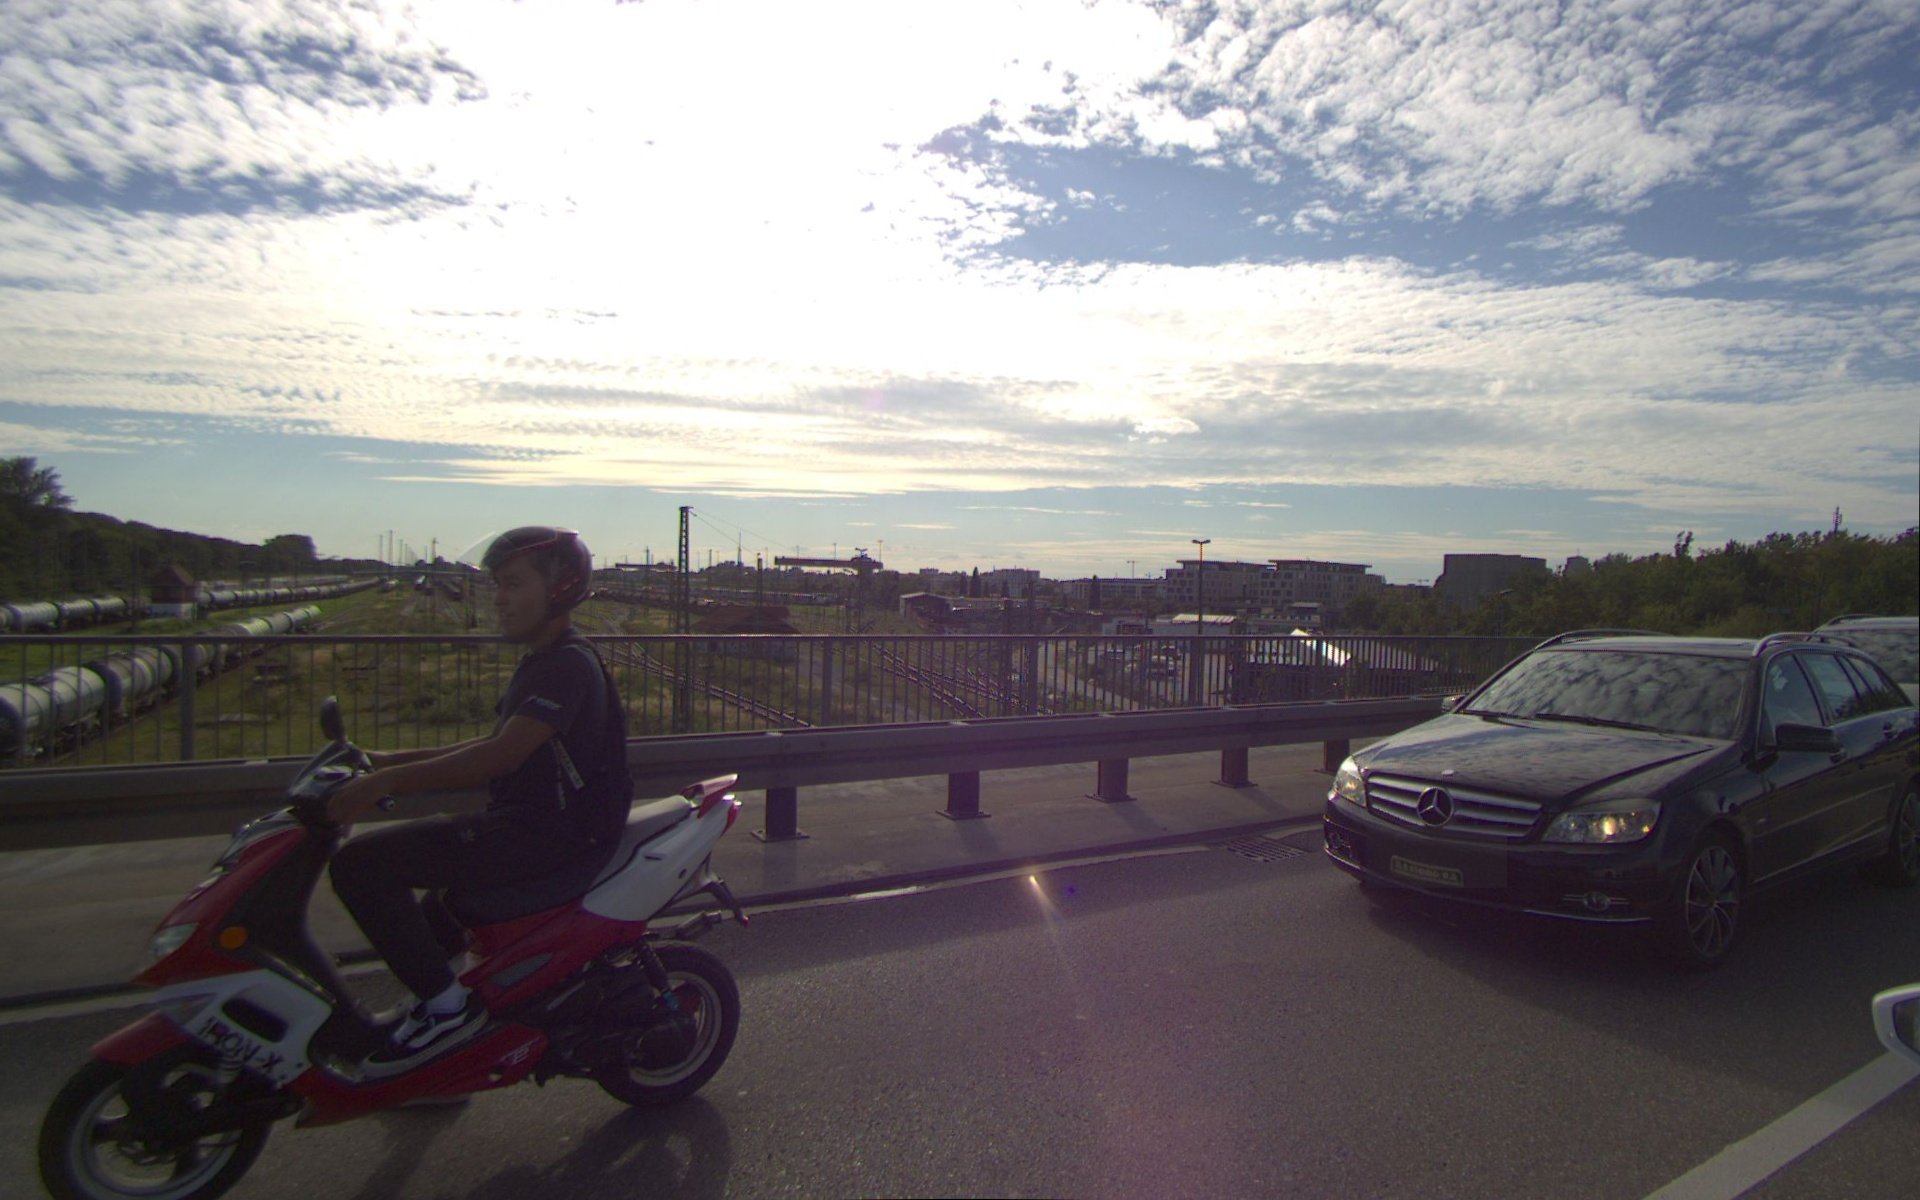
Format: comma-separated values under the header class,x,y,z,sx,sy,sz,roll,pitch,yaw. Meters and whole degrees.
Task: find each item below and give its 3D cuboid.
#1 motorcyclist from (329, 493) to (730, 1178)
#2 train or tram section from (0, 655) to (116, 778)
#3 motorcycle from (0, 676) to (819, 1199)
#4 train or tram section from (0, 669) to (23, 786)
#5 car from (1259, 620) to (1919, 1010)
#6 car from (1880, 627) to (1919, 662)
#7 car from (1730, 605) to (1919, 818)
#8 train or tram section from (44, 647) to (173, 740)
class,x,y,z,sx,sy,sz,roll,pitch,yaw
motorcyclist,-1.203,0.555,2.827,0.927,1.574,0.617,1,-1,-31
train or tram section,-46.740,5.470,50.731,3.059,4.774,16.620,2,-1,-29
motorcycle,-1.334,0.874,2.756,1.772,1.269,0.617,1,-1,-32
train or tram section,-38.632,5.301,36.201,3.059,4.774,16.620,2,-1,-29
car,3.963,0.884,5.830,4.469,1.485,1.823,1,-2,-33
car,51.806,2.415,54.666,1.875,1.834,5.386,0,-2,35
car,9.048,0.932,9.454,4.255,1.671,1.671,2,-2,-35
train or tram section,-54.788,5.683,65.233,3.059,4.774,16.620,2,-1,-29
